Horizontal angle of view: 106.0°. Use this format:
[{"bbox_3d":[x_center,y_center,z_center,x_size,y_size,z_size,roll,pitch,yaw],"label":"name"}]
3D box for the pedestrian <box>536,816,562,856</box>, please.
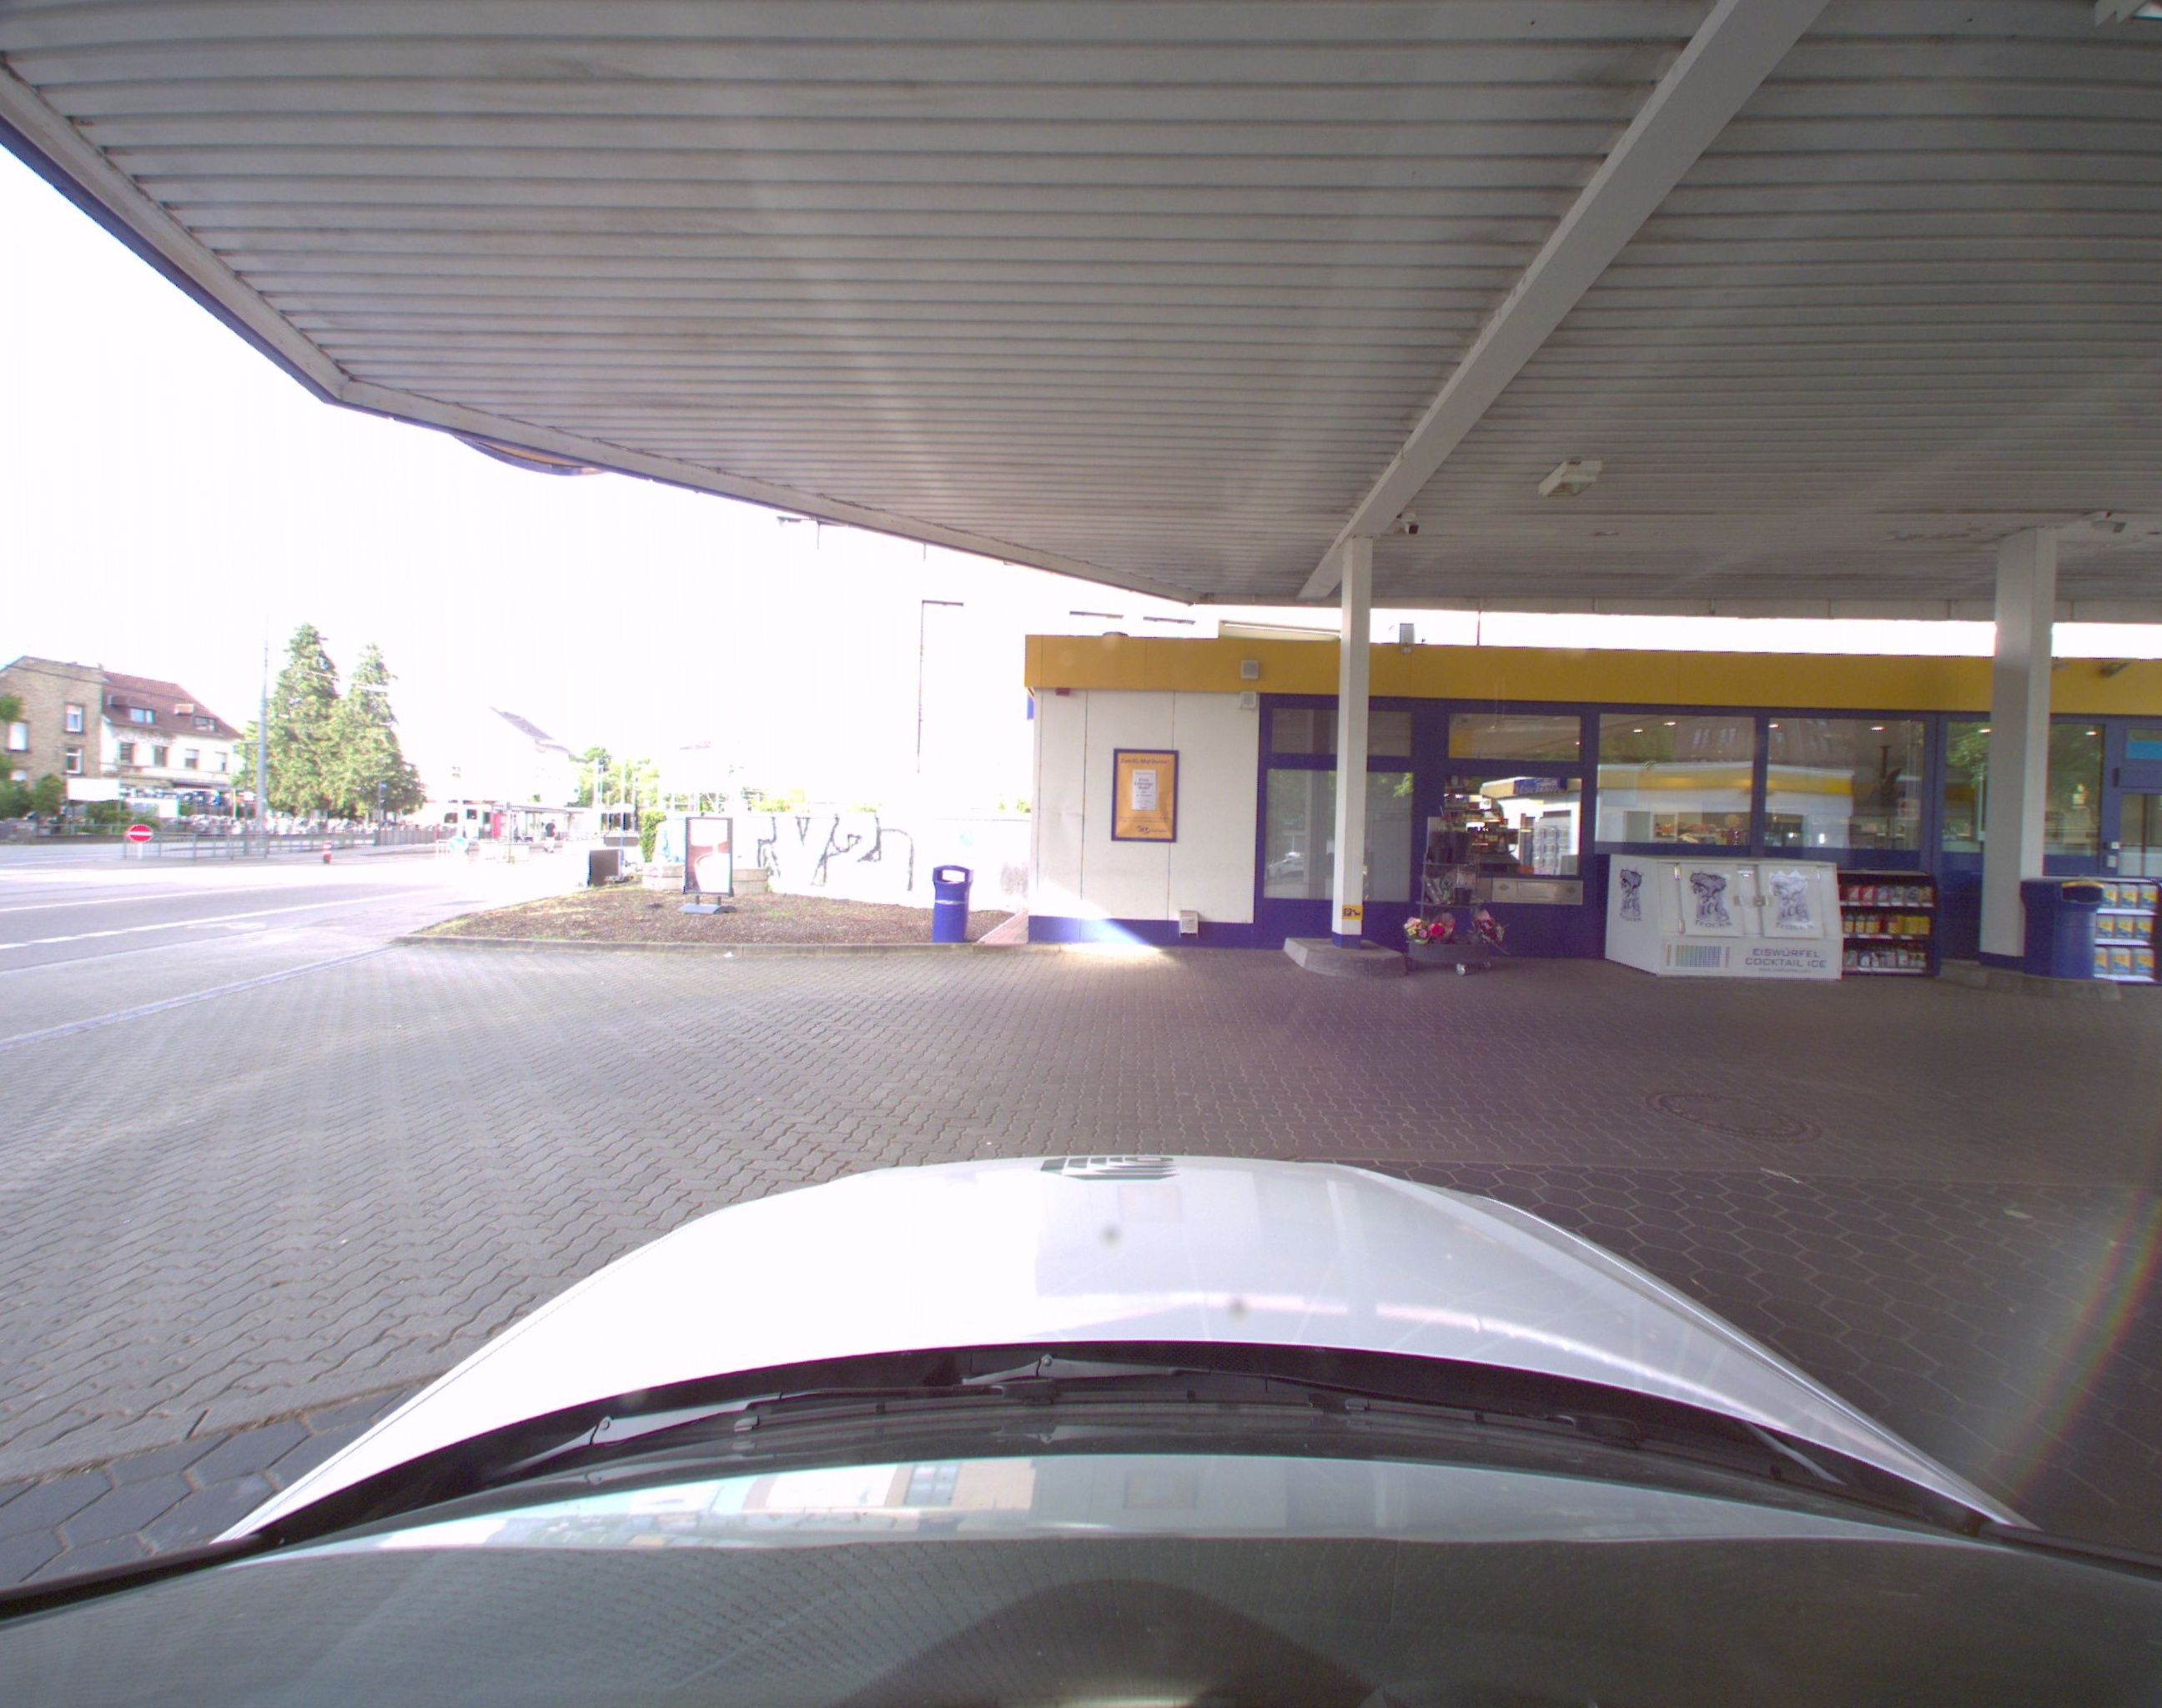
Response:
[{"bbox_3d":[-27.173,-0.935,41.589,0.805,2.014,0.849,0,-1,-6],"label":"pedestrian"}]
